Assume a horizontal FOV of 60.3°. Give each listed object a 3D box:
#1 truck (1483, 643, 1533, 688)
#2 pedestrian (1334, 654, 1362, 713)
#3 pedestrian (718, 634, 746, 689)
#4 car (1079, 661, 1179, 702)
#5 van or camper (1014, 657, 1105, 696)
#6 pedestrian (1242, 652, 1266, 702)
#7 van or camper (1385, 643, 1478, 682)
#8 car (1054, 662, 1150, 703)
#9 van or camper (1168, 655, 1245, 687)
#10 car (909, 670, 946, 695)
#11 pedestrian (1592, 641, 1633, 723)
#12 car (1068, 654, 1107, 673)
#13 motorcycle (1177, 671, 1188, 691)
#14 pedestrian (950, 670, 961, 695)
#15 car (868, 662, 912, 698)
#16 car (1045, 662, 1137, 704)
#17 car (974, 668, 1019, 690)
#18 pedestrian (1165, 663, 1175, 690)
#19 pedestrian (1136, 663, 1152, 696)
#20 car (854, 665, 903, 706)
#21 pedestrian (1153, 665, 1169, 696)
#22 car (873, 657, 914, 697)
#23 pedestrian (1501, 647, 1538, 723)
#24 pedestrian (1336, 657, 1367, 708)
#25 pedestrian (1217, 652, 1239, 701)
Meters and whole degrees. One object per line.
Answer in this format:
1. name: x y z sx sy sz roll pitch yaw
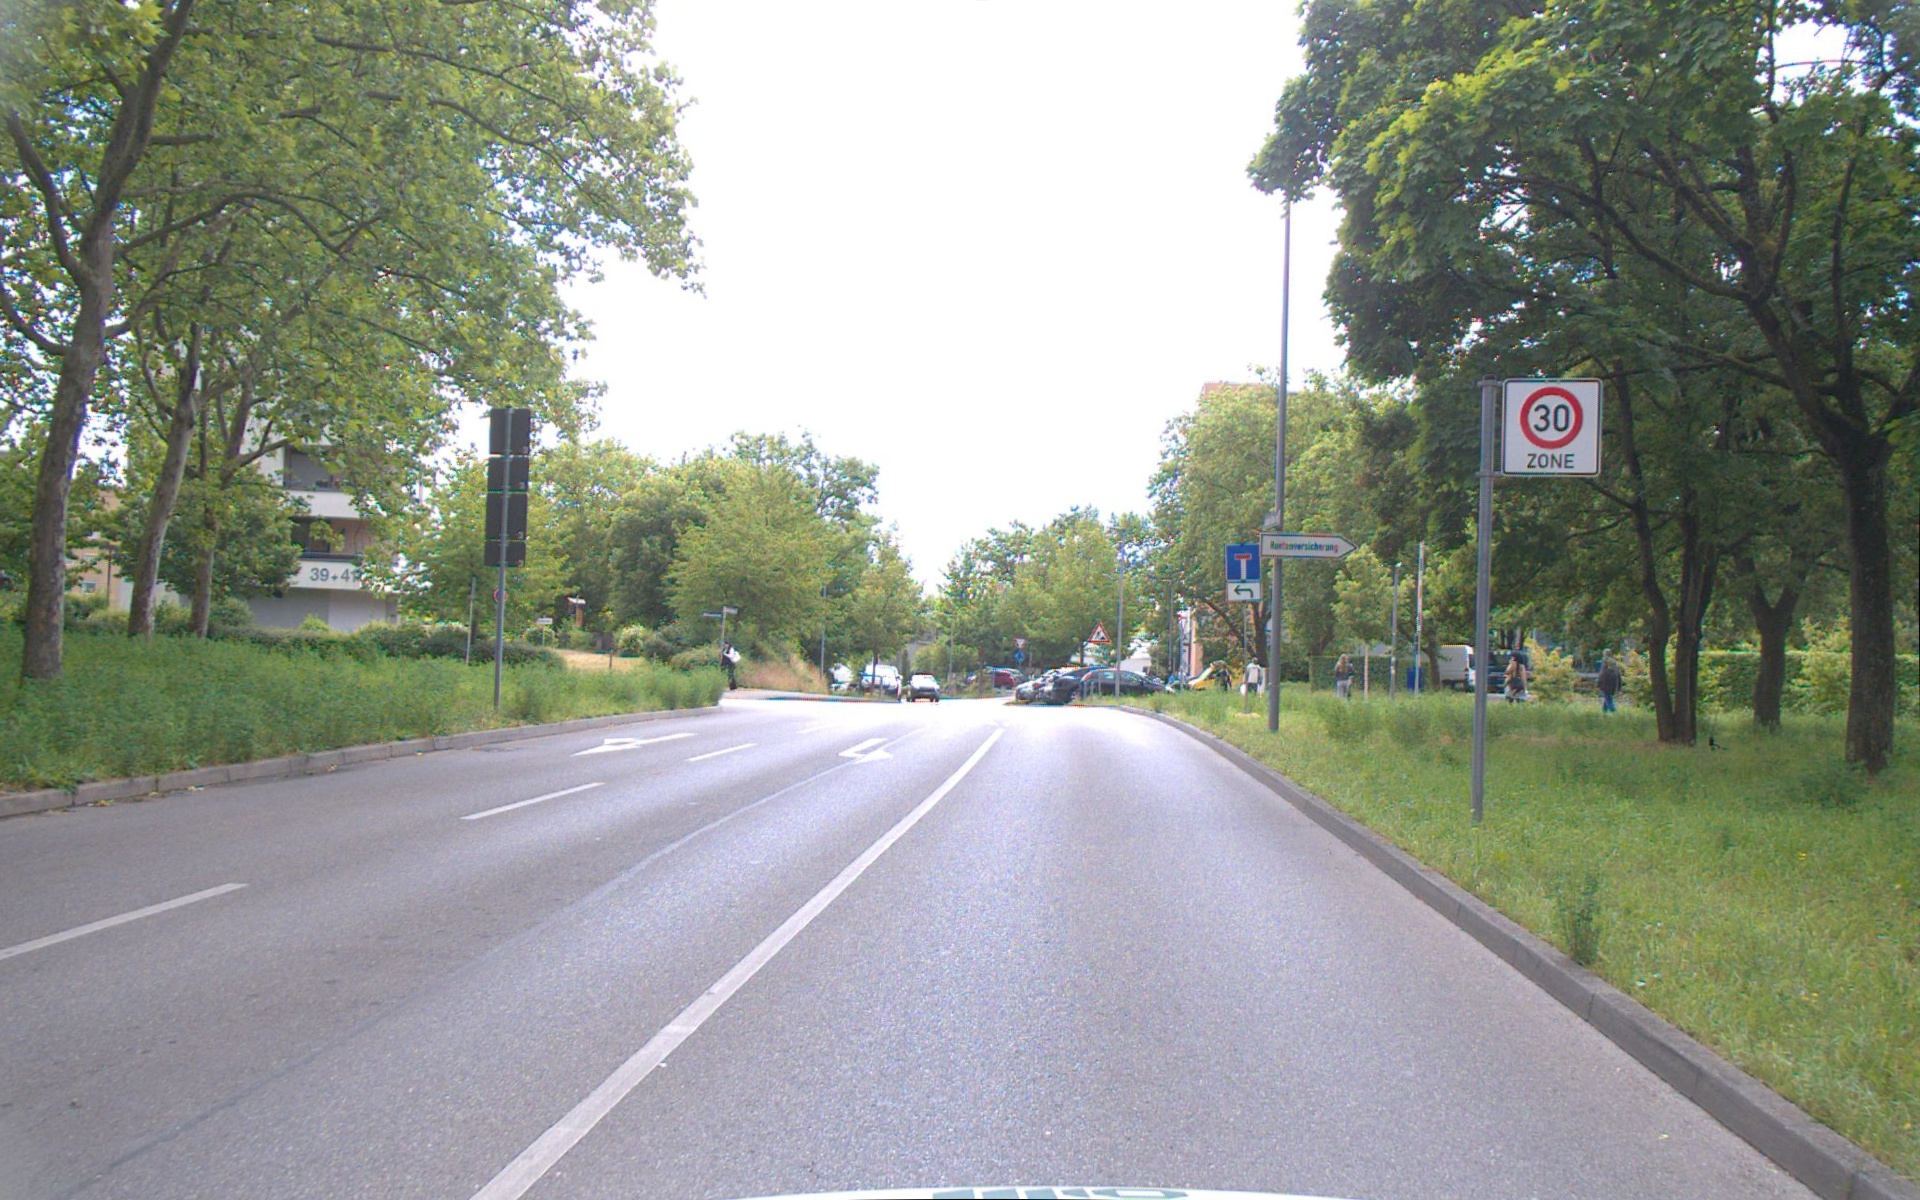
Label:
1. truck: 31.345 3.696 94.482 2.279 2.336 5.893 2 -1 22
2. pedestrian: 11.033 2.378 47.042 0.758 1.624 0.824 1 -1 13
3. pedestrian: -7.432 2.005 53.830 0.806 1.753 0.775 2 -1 -11
4. car: 6.671 3.233 65.530 3.839 1.494 1.772 1 -5 4
5. van or camper: 5.236 4.034 87.253 4.580 1.903 1.770 1 -1 -4
6. pedestrian: 10.748 2.814 60.563 0.784 1.753 0.824 2 -1 8
7. van or camper: 25.645 3.368 89.991 4.590 1.948 1.766 1 -1 33
8. car: 5.796 3.398 67.822 3.839 1.527 1.772 1 -5 4
9. van or camper: 17.494 5.049 117.546 5.185 2.077 2.060 1 -1 -1
10. car: -2.086 5.202 104.776 1.937 1.489 3.928 1 -2 -7
11. pedestrian: 14.379 1.796 36.434 0.759 1.753 0.823 1 -1 24
12. car: 12.571 6.277 163.084 3.482 1.683 1.614 3 -2 -16
13. motorcycle: 9.613 3.505 71.441 0.443 0.808 1.264 1 0 6
14. pedestrian: -0.351 6.167 123.646 0.707 1.897 0.649 1 -1 -7
15. car: -3.056 3.510 72.973 1.729 1.527 3.934 1 -2 1
16. car: 5.582 3.539 70.566 3.839 1.659 1.772 1 -5 4
17. car: 2.978 6.391 133.833 3.470 1.683 1.620 2 -2 -4
18. pedestrian: 9.111 3.310 71.711 0.387 1.172 0.485 2 -1 5
19. pedestrian: 8.755 3.752 78.596 0.675 1.530 0.753 2 -2 4
20. car: -3.328 3.477 67.830 1.729 1.527 3.934 1 -1 1
21. pedestrian: 9.535 3.823 78.586 0.675 1.449 0.753 2 -2 4
22. car: -3.146 3.650 78.794 1.729 1.784 3.934 1 -2 1
23. pedestrian: 13.325 2.008 39.375 0.759 1.753 0.823 1 -1 22
24. pedestrian: 13.705 2.872 57.912 0.761 1.724 0.820 1 -1 35
25. pedestrian: 9.968 2.829 61.483 0.758 1.753 0.824 2 -1 12
